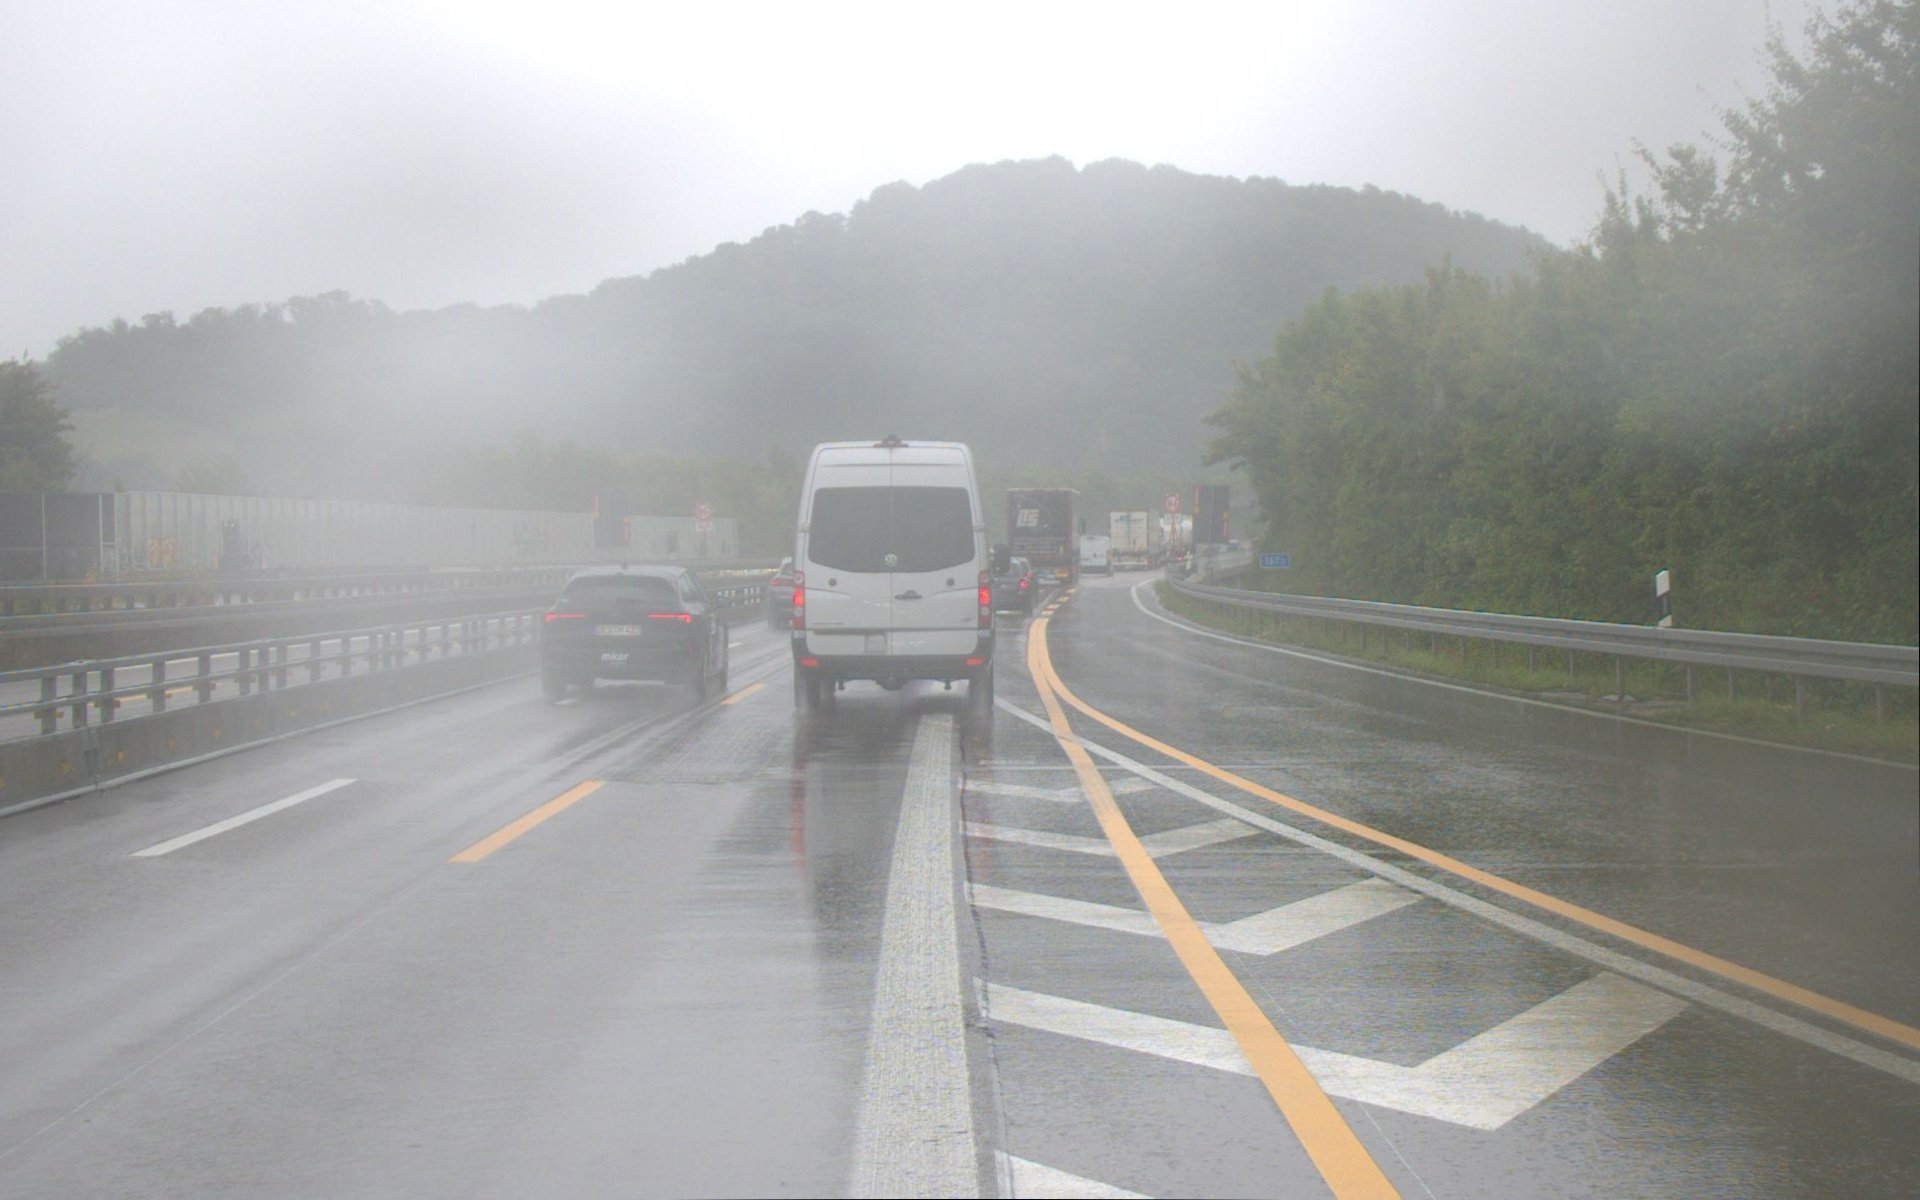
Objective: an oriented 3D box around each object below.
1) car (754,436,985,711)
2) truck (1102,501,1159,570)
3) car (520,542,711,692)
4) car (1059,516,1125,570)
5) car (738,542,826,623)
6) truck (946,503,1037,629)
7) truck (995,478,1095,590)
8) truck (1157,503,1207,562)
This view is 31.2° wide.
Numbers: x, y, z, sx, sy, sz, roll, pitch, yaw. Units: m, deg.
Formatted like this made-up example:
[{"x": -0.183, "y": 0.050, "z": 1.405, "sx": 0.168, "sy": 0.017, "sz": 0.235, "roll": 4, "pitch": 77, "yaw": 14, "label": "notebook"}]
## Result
[{"x": -0.830, "y": -0.273, "z": 35.074, "sx": 2.145, "sy": 2.562, "sz": 5.390, "roll": 1, "pitch": 1, "yaw": 0, "label": "car"}, {"x": 11.307, "y": -4.196, "z": 226.865, "sx": 3.037, "sy": 4.391, "sz": 9.621, "roll": 1, "pitch": 1, "yaw": 7, "label": "truck"}, {"x": -3.766, "y": 0.158, "z": 38.142, "sx": 1.946, "sy": 1.556, "sz": 4.001, "roll": 1, "pitch": 1, "yaw": -3, "label": "car"}, {"x": 7.251, "y": -3.113, "z": 188.002, "sx": 2.899, "sy": 2.877, "sz": 6.409, "roll": 1, "pitch": 1, "yaw": 9, "label": "car"}, {"x": -3.697, "y": -0.371, "z": 71.861, "sx": 1.707, "sy": 1.622, "sz": 4.000, "roll": 1, "pitch": 1, "yaw": -1, "label": "car"}, {"x": 0.874, "y": -0.871, "z": 89.346, "sx": 1.994, "sy": 3.098, "sz": 8.498, "roll": 1, "pitch": 1, "yaw": 3, "label": "truck"}, {"x": 3.575, "y": -2.673, "z": 141.525, "sx": 3.582, "sy": 4.391, "sz": 9.622, "roll": 1, "pitch": 1, "yaw": 4, "label": "truck"}, {"x": 16.972, "y": -5.100, "z": 262.111, "sx": 2.899, "sy": 4.391, "sz": 9.620, "roll": 1, "pitch": 1, "yaw": 9, "label": "truck"}]
